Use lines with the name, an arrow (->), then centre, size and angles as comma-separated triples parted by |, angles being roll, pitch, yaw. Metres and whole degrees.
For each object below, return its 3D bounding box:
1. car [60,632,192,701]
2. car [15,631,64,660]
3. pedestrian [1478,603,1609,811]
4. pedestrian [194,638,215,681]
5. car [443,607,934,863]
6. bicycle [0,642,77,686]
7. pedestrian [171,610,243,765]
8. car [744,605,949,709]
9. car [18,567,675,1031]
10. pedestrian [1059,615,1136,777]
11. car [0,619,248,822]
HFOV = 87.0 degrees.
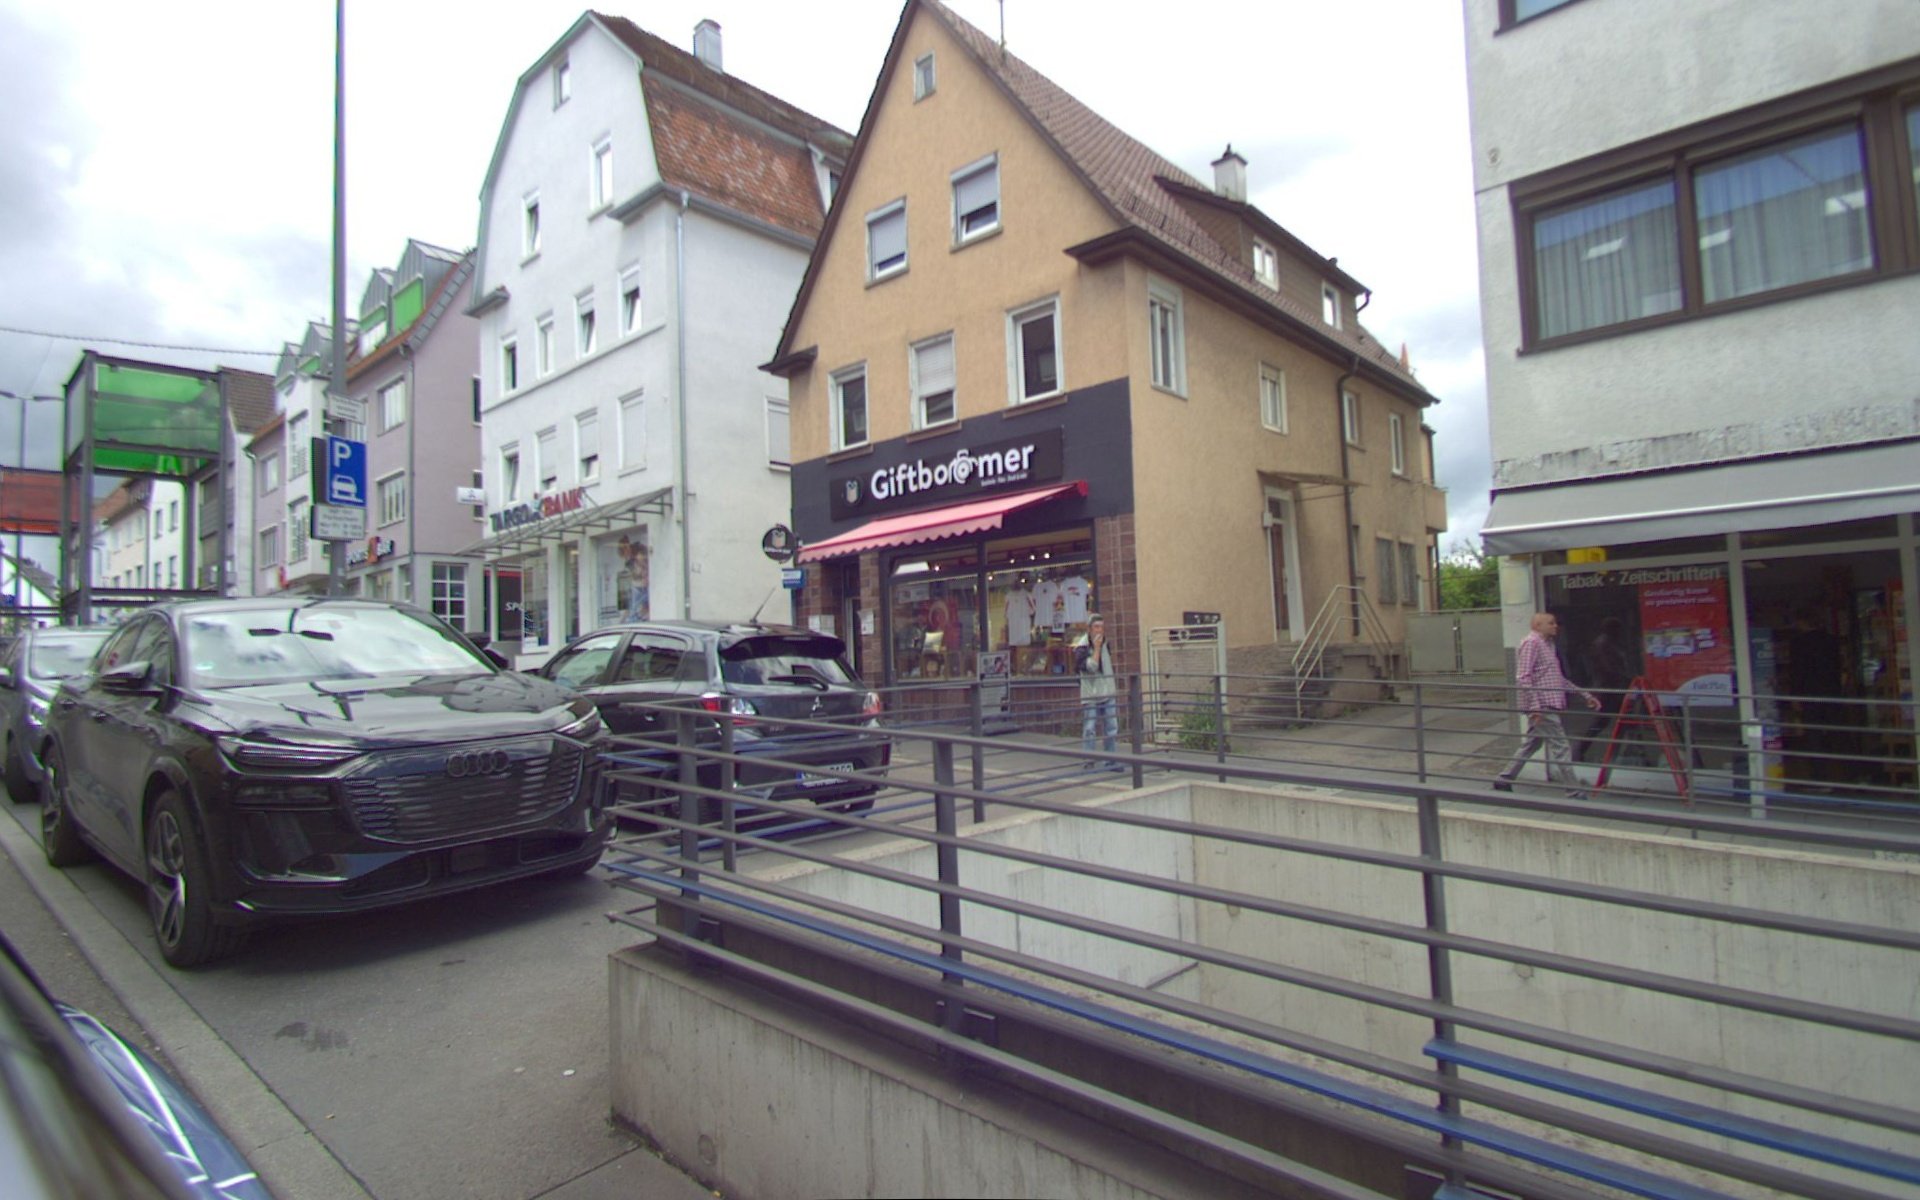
car -> -19.427, 1.495, 23.520 | 3.851, 1.486, 1.553 | -2, -3, 38
car -> -53.480, 2.621, 58.775 | 4.120, 1.583, 1.662 | -2, -1, 41
pedestrian -> 5.096, 0.897, 8.851 | 0.632, 1.702, 0.828 | 3, -3, -44
pedestrian -> -31.141, 2.435, 41.726 | 0.513, 1.729, 0.584 | -2, -1, 41
car -> -2.231, 0.890, 7.829 | 3.881, 1.487, 1.721 | -2, -5, 40
bicycle -> -26.646, 1.826, 29.161 | 0.459, 1.232, 1.759 | -2, -3, 40
pedestrian -> -8.614, 0.974, 11.570 | 0.901, 1.685, 0.527 | -3, -3, 44
car -> -2.316, 1.121, 21.429 | 1.883, 1.887, 4.026 | -3, -1, 43
car -> -3.703, 0.746, 5.751 | 4.311, 1.652, 1.936 | -2, -1, 40
pedestrian -> 1.495, 1.025, 11.083 | 0.635, 1.702, 0.667 | 0, -3, -9
car -> -8.293, 0.988, 9.686 | 3.669, 1.544, 1.603 | -2, -1, 41
